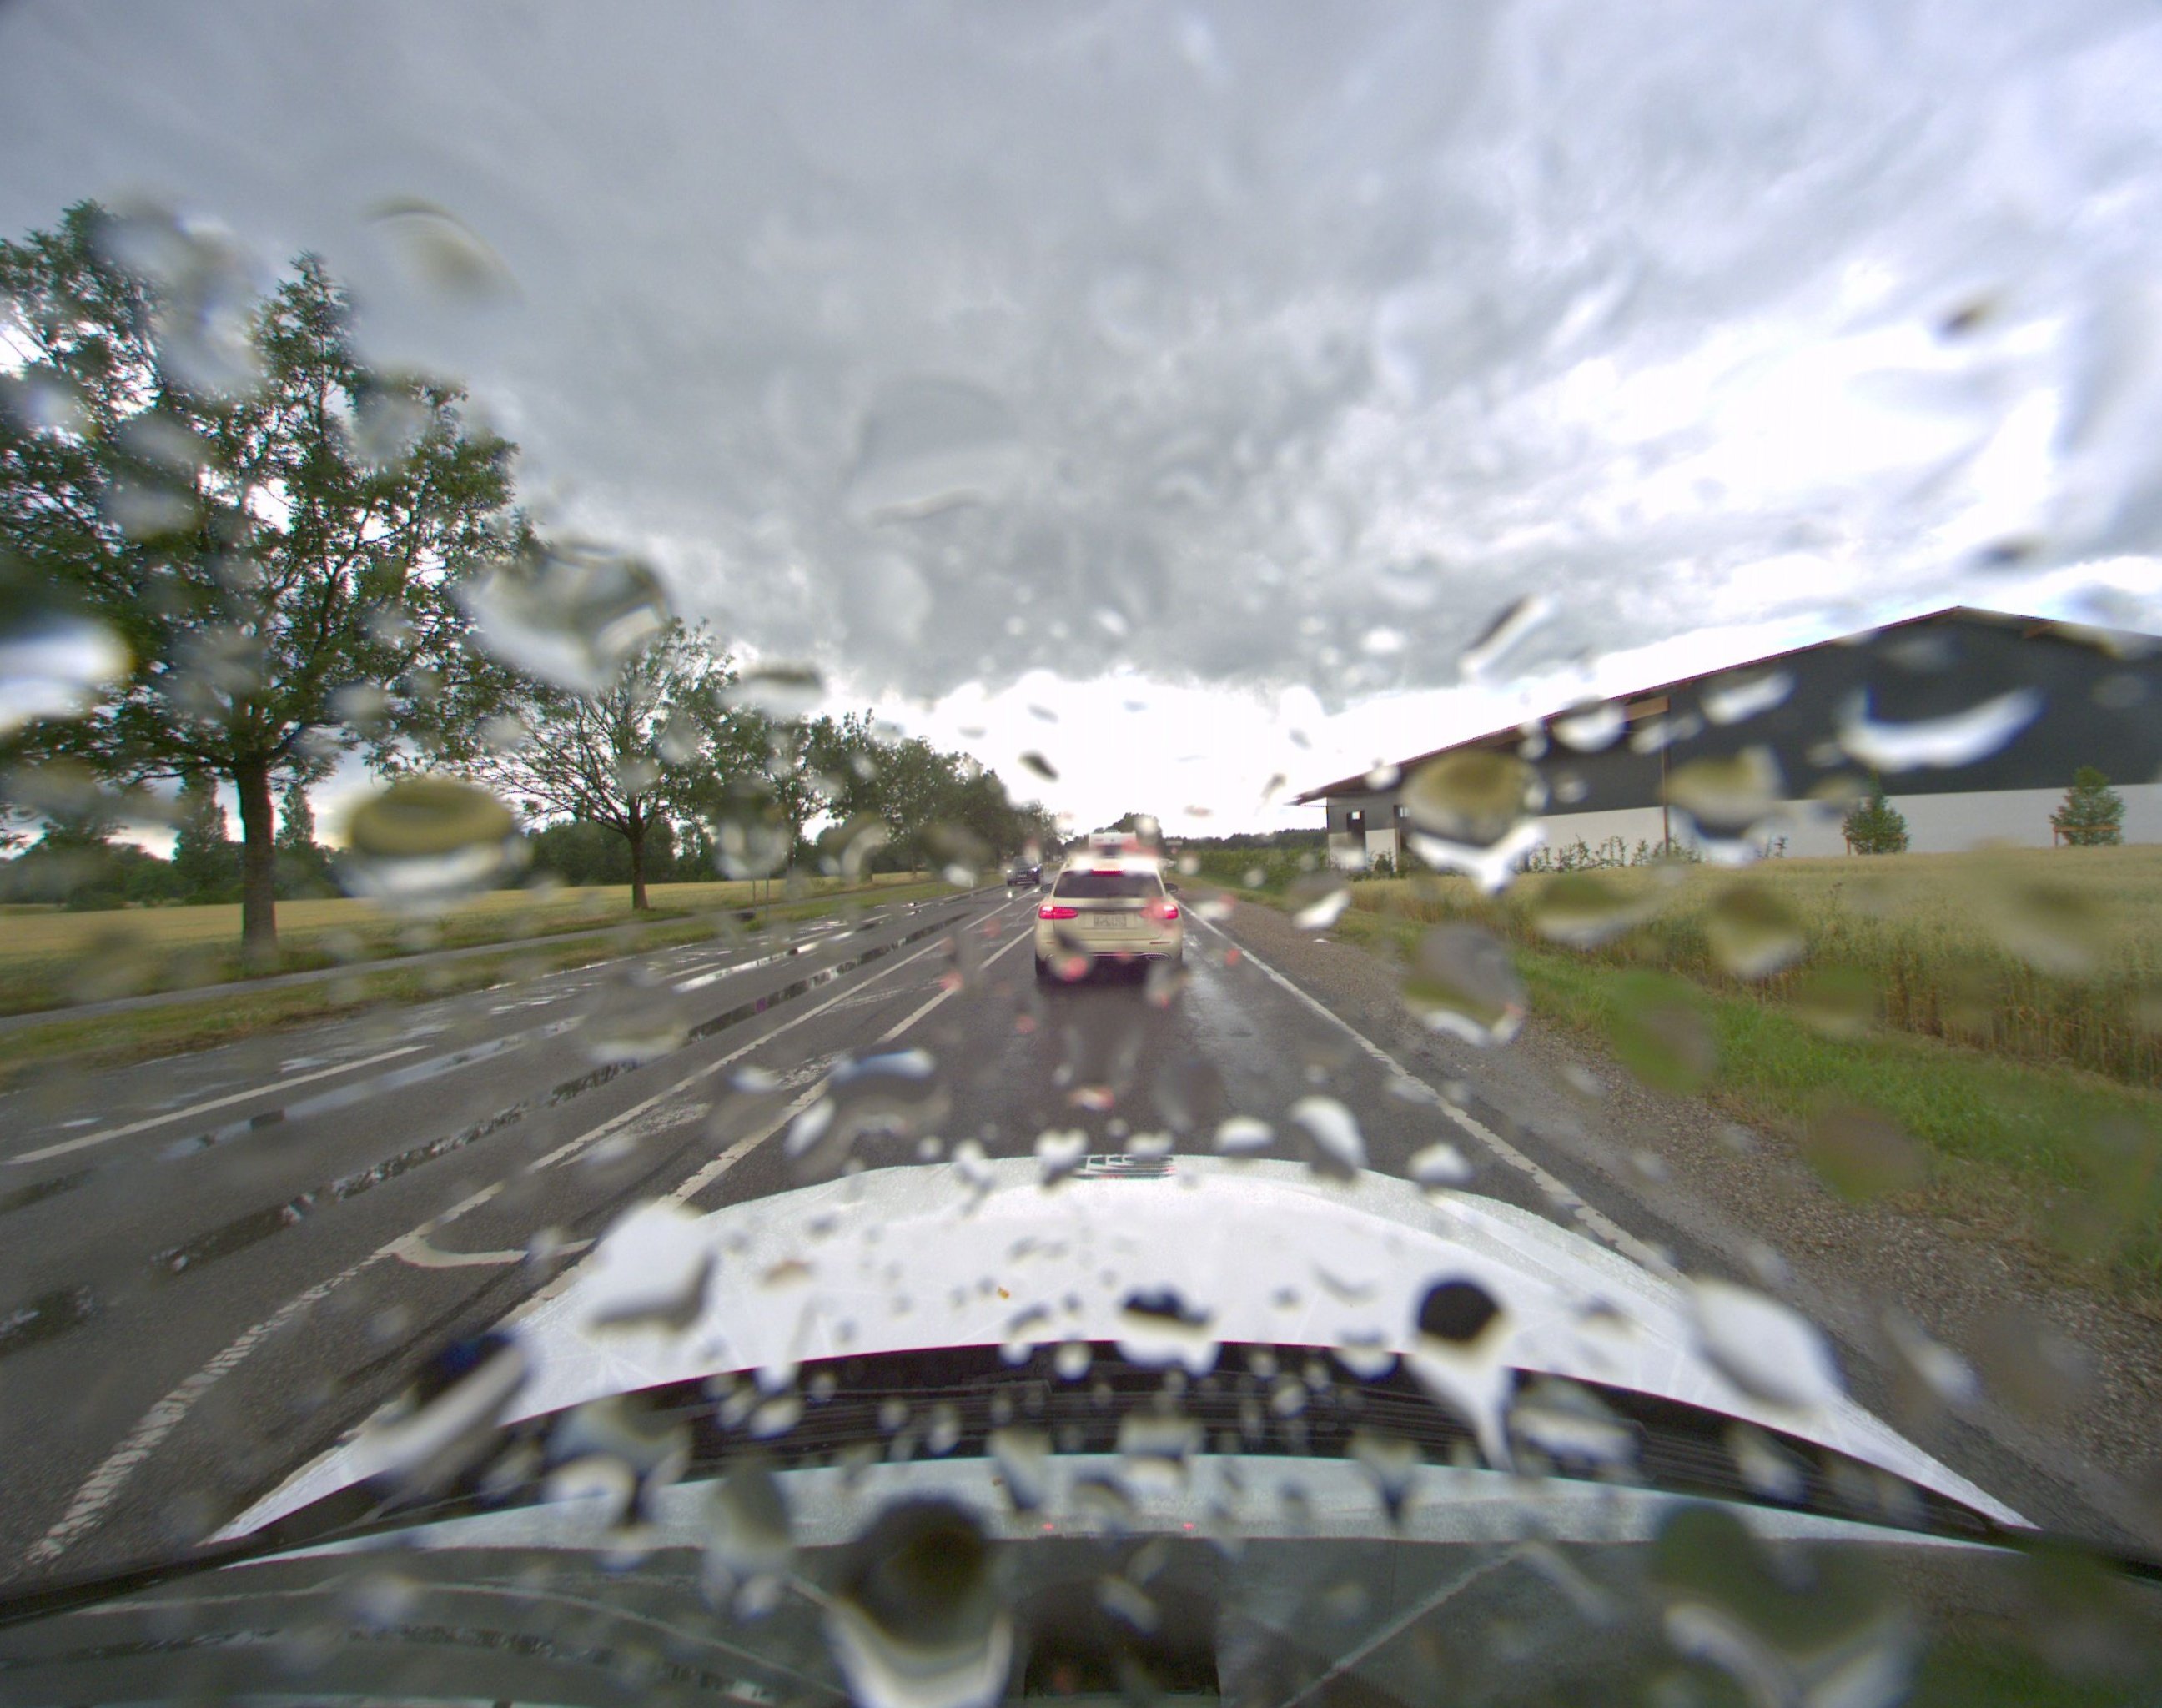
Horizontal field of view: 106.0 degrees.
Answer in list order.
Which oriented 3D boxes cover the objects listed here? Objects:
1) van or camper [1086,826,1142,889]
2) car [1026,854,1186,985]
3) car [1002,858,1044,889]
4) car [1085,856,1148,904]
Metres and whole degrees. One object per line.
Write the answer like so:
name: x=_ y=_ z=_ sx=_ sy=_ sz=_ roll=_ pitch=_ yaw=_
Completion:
van or camper: x=1.684 y=0.168 z=41.116 sx=2.487 sy=2.831 sz=5.938 roll=-3 pitch=0 yaw=3
car: x=0.370 y=0.744 z=11.209 sx=1.790 sy=1.464 sz=4.033 roll=0 pitch=0 yaw=2
car: x=-3.337 y=1.090 z=47.693 sx=1.909 sy=1.632 sz=4.359 roll=-3 pitch=0 yaw=2
car: x=1.139 y=0.789 z=26.730 sx=1.887 sy=1.429 sz=3.929 roll=-1 pitch=0 yaw=1
